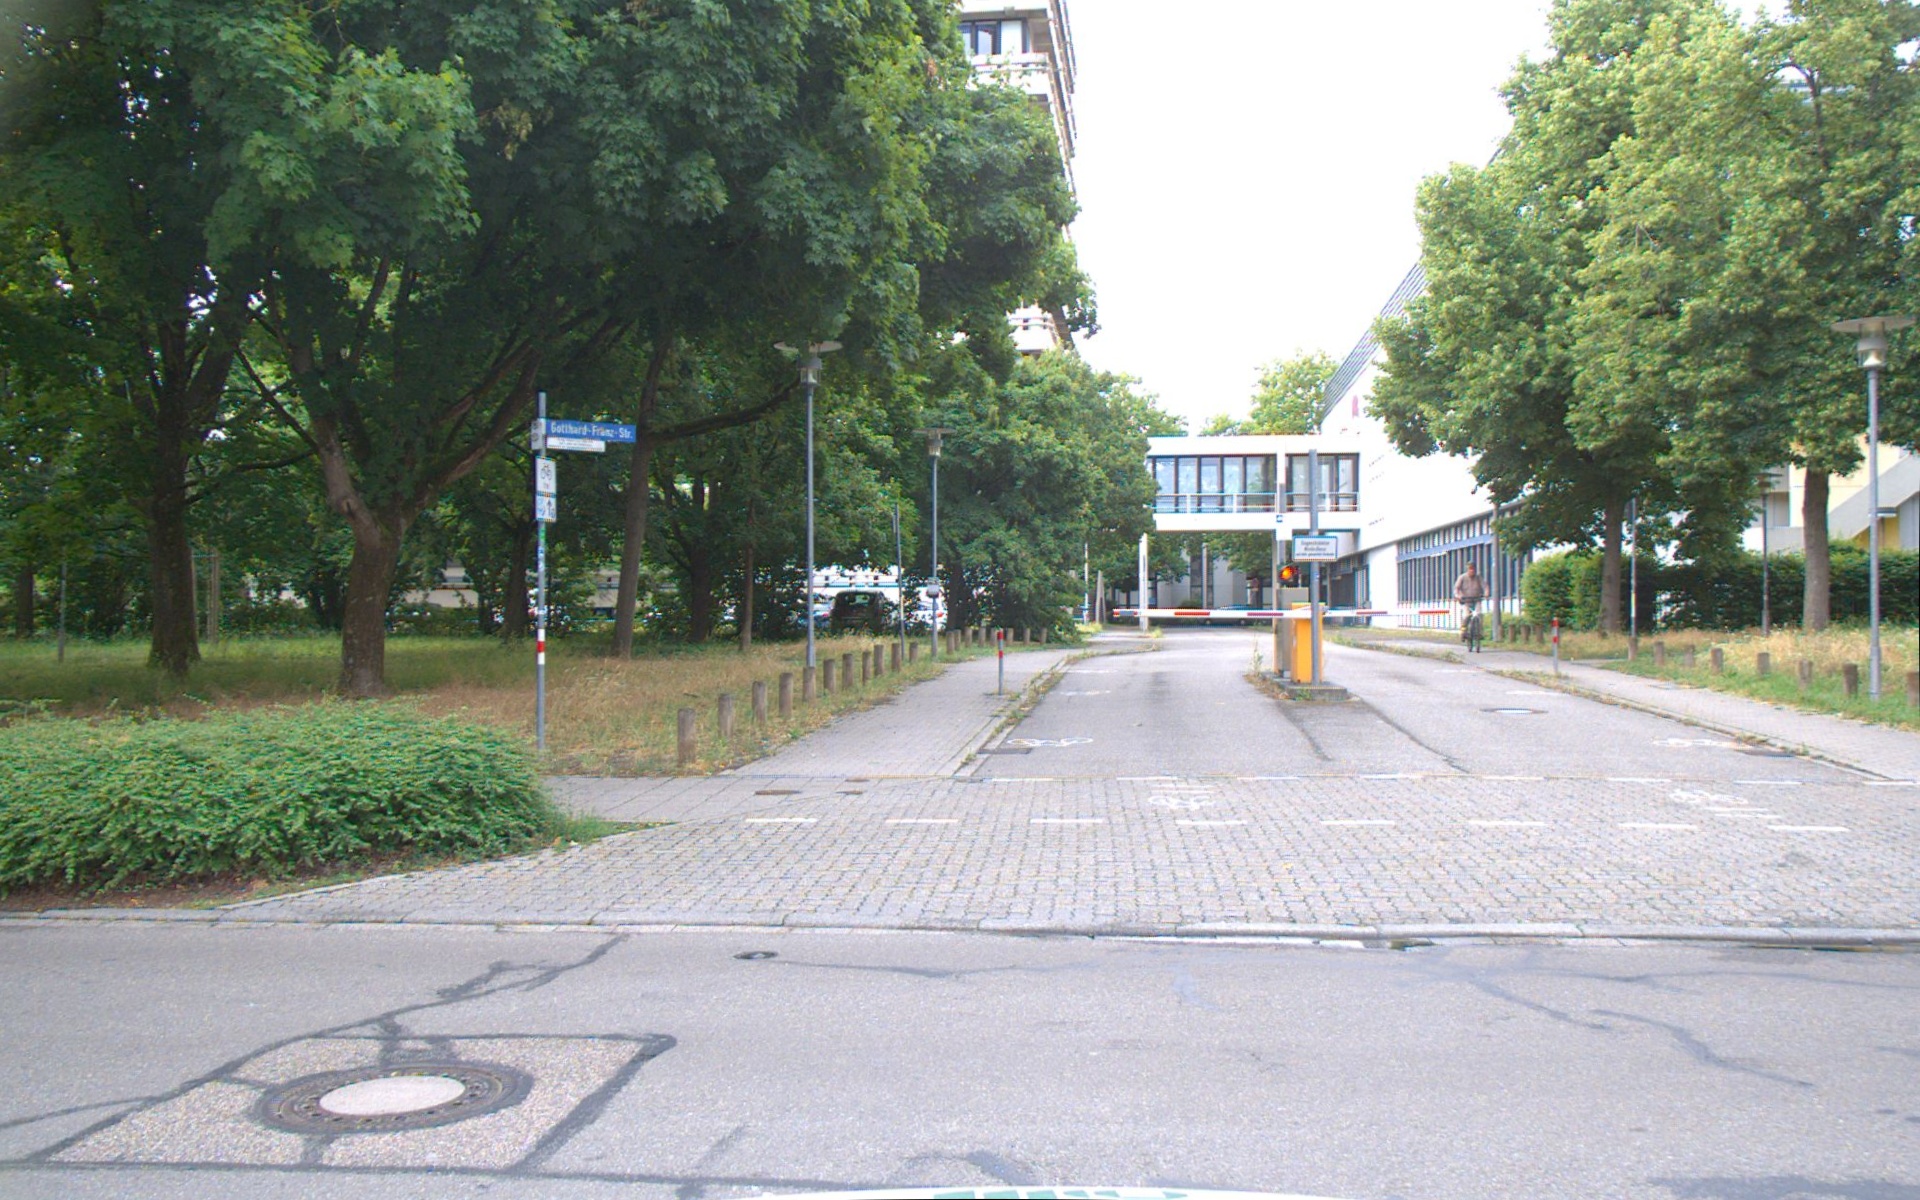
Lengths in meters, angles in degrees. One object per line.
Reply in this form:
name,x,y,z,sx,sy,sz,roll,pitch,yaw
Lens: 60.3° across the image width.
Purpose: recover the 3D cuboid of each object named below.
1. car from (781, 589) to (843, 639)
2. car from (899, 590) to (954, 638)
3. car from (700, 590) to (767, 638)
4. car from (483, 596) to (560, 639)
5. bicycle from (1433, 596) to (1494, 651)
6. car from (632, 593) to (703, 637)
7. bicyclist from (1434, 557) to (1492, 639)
car,-5.747,0.578,64.724,1.952,1.825,4.000,-1,-2,2
car,-1.264,0.574,64.342,1.952,1.793,4.000,0,-1,2
car,-8.805,0.578,64.696,1.952,1.758,4.000,-1,-2,2
car,-17.448,0.696,65.986,1.878,1.646,4.001,0,0,2
bicycle,10.546,0.476,34.691,0.848,1.093,2.143,0,0,7
car,-11.449,0.584,65.027,1.952,1.646,4.001,0,0,2
bicyclist,10.560,-0.043,34.732,0.995,1.673,0.924,0,0,6
